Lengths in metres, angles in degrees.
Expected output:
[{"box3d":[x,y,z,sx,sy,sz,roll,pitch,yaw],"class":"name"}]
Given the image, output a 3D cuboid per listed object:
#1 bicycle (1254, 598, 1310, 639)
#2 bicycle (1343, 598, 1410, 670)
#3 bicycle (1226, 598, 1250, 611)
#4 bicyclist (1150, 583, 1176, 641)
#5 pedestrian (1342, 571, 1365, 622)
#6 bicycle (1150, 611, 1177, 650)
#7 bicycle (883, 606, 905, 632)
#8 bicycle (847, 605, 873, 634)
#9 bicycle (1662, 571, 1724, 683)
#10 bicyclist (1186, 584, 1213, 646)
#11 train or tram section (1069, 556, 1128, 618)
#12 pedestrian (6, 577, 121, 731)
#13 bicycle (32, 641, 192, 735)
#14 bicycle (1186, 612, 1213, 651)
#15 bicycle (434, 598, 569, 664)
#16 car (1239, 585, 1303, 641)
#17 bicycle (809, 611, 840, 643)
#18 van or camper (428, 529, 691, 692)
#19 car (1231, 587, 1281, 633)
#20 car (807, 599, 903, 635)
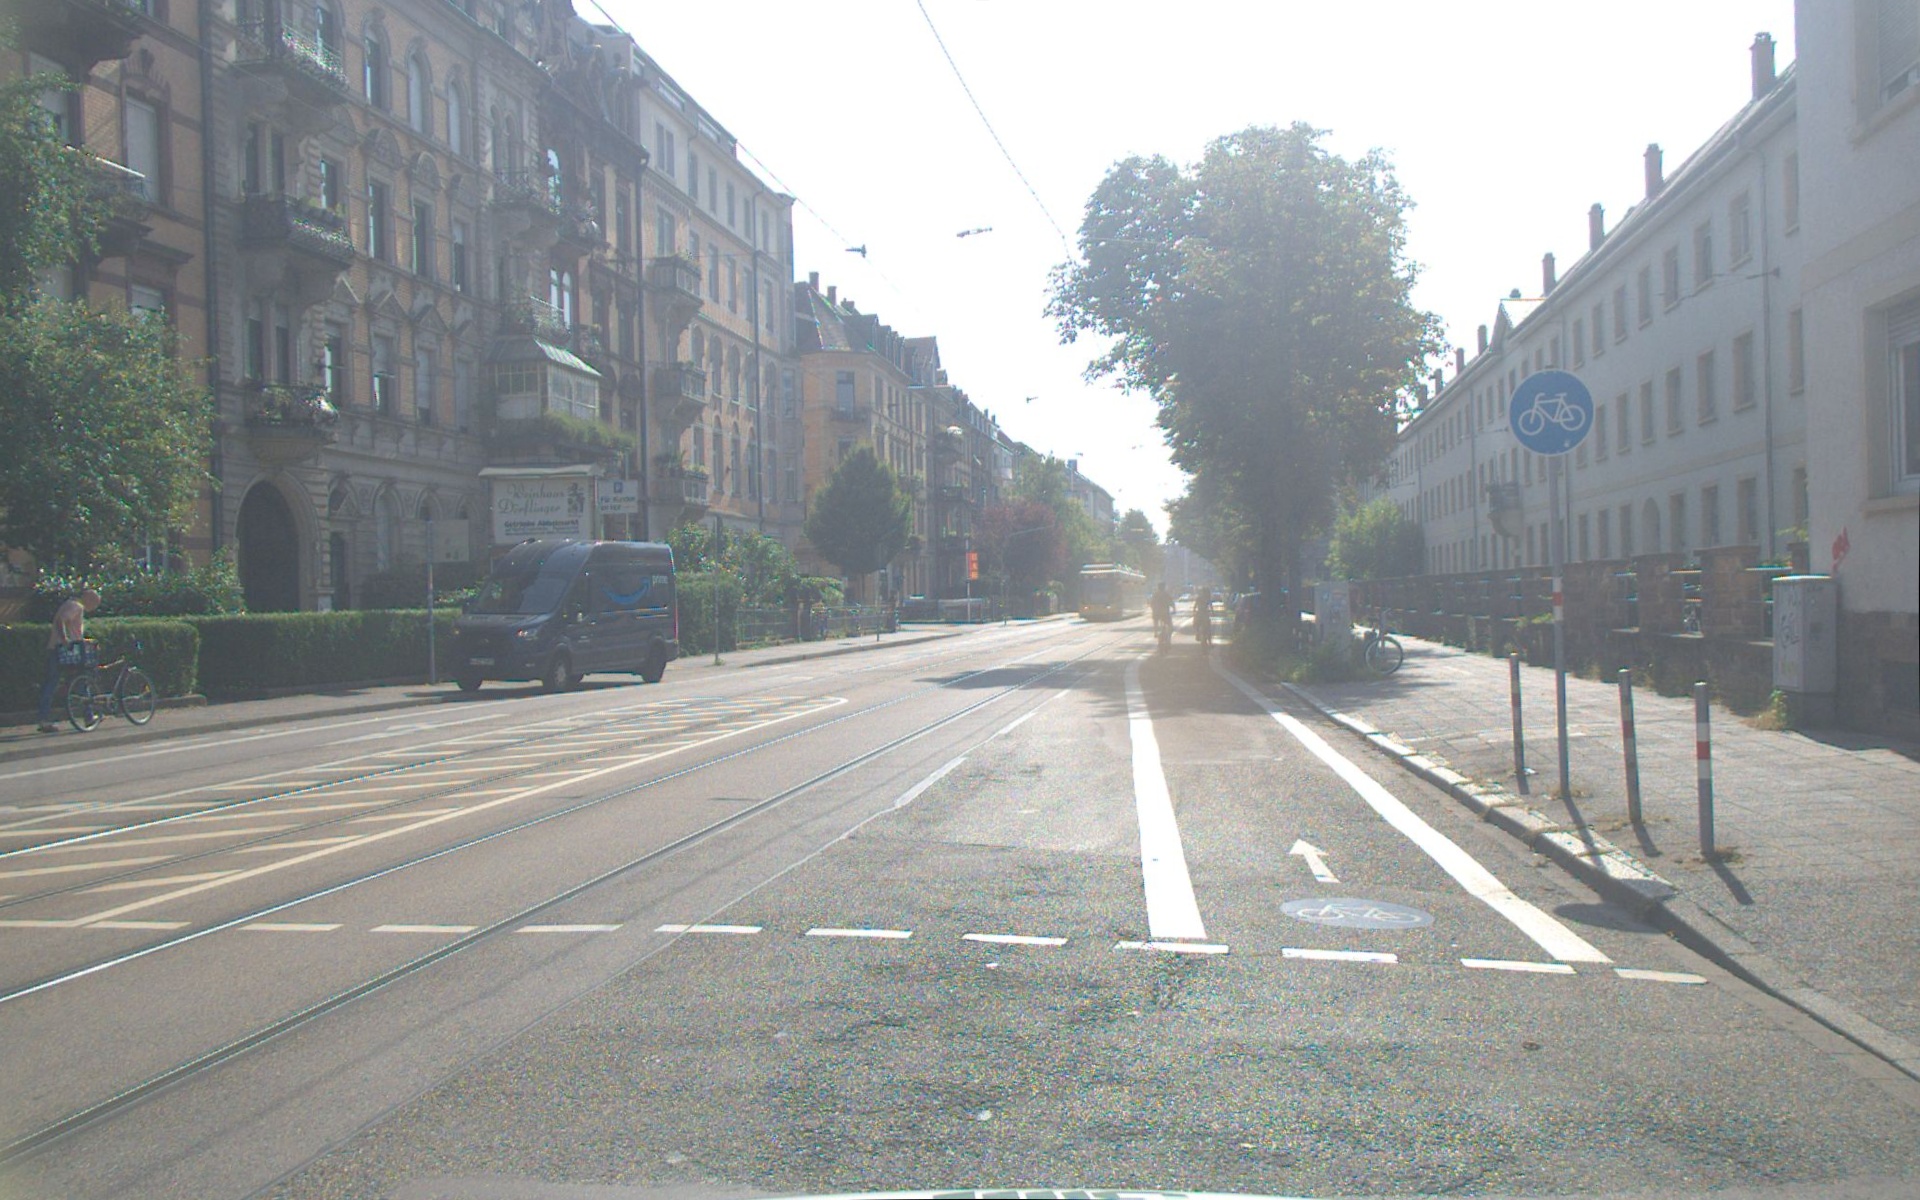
[{"box3d":[8.780,0.499,45.037,1.712,1.092,0.518,-1,0,-40],"class":"bicycle"},{"box3d":[6.962,0.542,27.750,0.755,1.123,2.335,-1,0,6],"class":"bicycle"},{"box3d":[25.222,0.407,149.821,2.063,1.125,0.563,-2,0,2],"class":"bicycle"},{"box3d":[5.031,0.290,40.876,0.613,1.425,0.930,0,0,8],"class":"bicyclist"},{"box3d":[13.913,-0.124,58.433,0.736,1.779,0.879,-1,0,15],"class":"pedestrian"},{"box3d":[5.035,0.750,40.864,0.613,0.925,1.526,0,0,8],"class":"bicycle"},{"box3d":[-2.845,0.833,71.552,0.533,1.076,1.841,2,1,10],"class":"bicycle"},{"box3d":[-3.907,0.758,64.601,0.533,1.076,1.841,2,1,10],"class":"bicycle"},{"box3d":[10.046,0.349,22.709,0.444,1.480,1.741,0,0,13],"class":"bicycle"},{"box3d":[5.871,0.353,40.543,0.640,1.499,0.909,0,0,8],"class":"bicyclist"},{"box3d":[8.820,-0.781,103.538,2.676,3.567,15.446,-1,0,8],"class":"train or tram section"},{"box3d":[-11.059,0.649,20.434,0.712,1.838,1.094,-1,0,7],"class":"pedestrian"},{"box3d":[-10.481,1.060,20.537,0.605,1.024,2.152,-1,0,9],"class":"bicycle"},{"box3d":[5.863,0.764,40.559,0.640,0.925,1.776,0,0,8],"class":"bicycle"},{"box3d":[-10.624,0.705,38.383,2.815,1.480,0.998,0,0,2],"class":"bicycle"},{"box3d":[9.693,0.382,51.371,1.610,1.567,3.845,-3,-1,14],"class":"car"},{"box3d":[-4.810,0.942,58.730,0.593,1.076,1.841,2,1,10],"class":"bicycle"},{"box3d":[-7.284,0.186,30.947,2.007,2.691,6.094,-2,-1,16],"class":"van or camper"},{"box3d":[10.556,0.346,59.199,1.610,1.473,4.249,-3,-1,9],"class":"car"},{"box3d":[-4.768,0.765,75.361,4.048,1.570,2.066,-1,-1,8],"class":"car"}]
